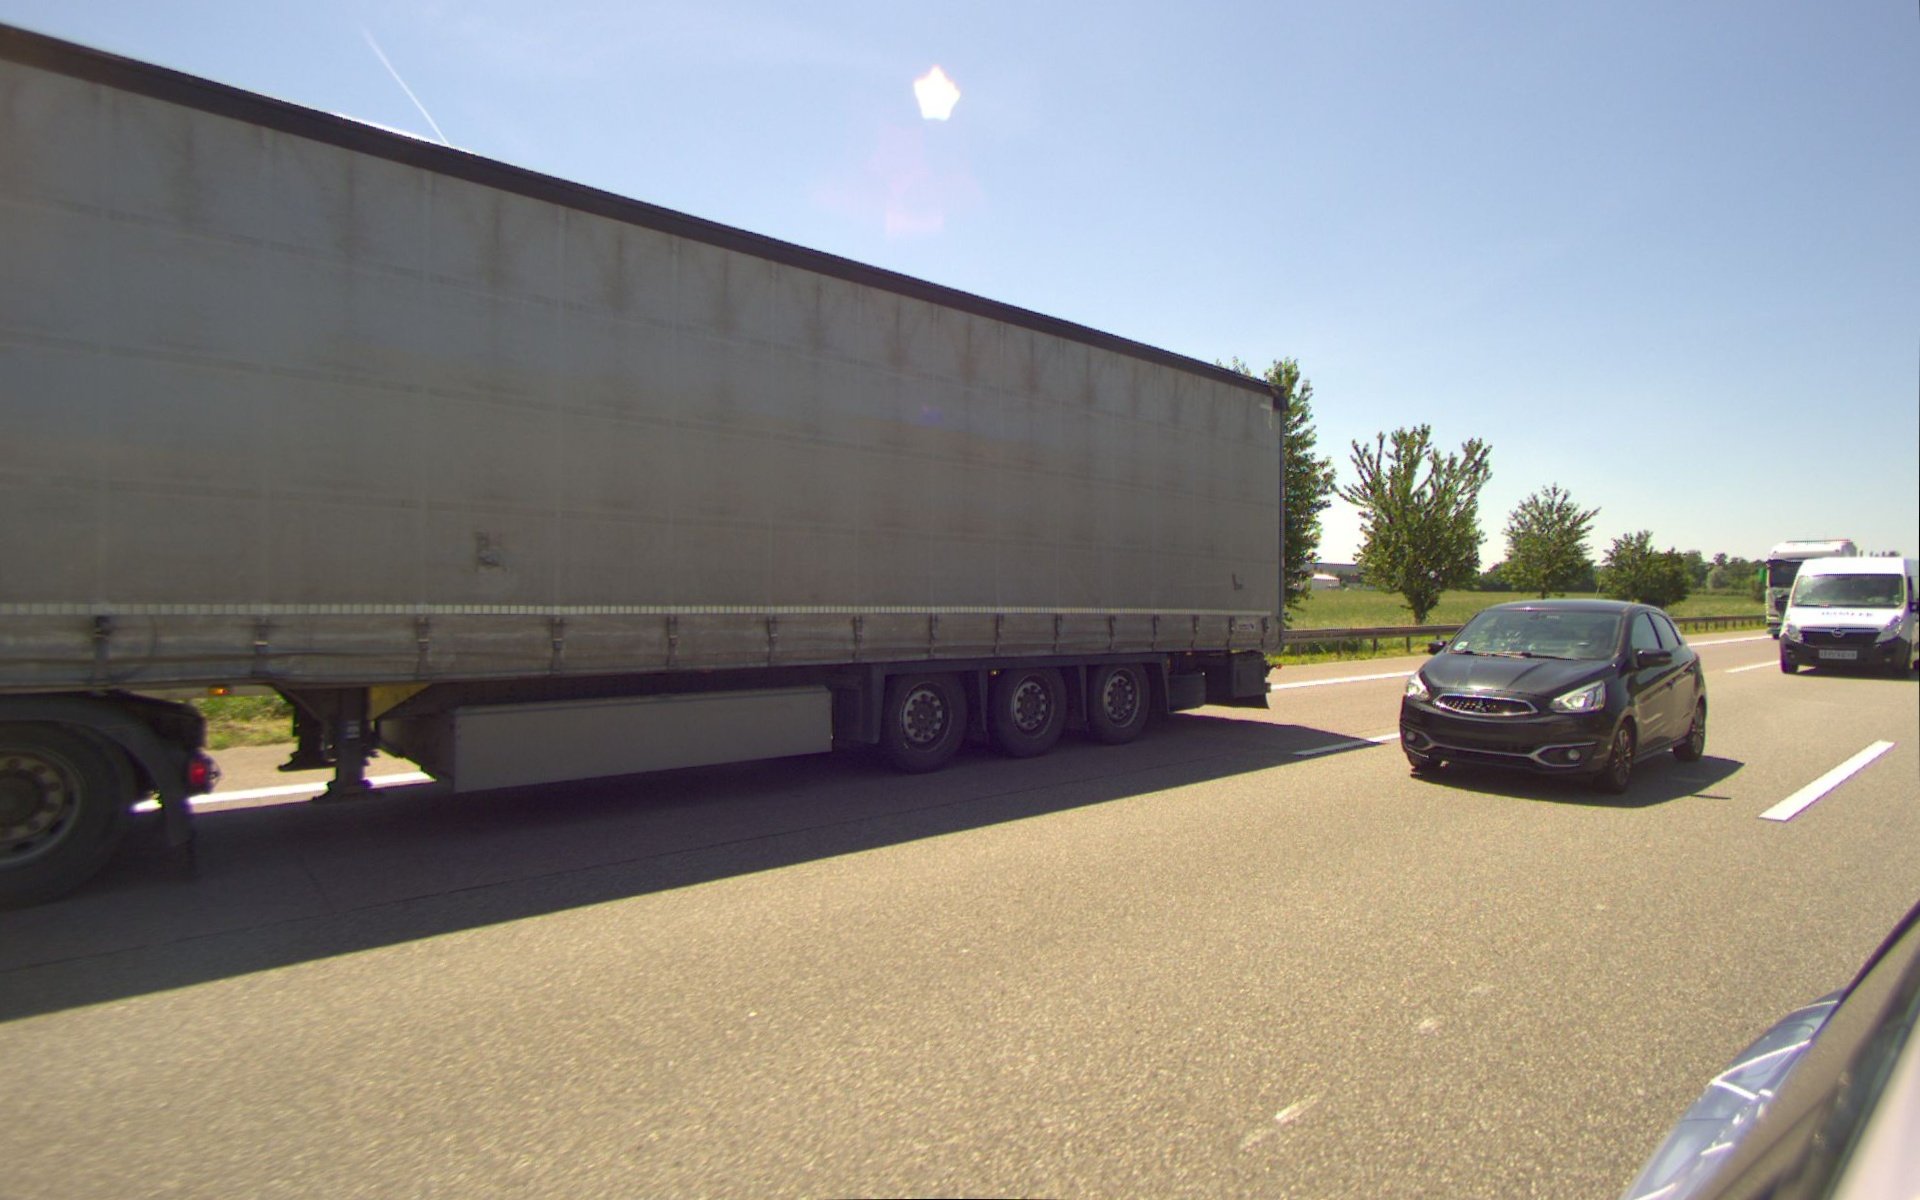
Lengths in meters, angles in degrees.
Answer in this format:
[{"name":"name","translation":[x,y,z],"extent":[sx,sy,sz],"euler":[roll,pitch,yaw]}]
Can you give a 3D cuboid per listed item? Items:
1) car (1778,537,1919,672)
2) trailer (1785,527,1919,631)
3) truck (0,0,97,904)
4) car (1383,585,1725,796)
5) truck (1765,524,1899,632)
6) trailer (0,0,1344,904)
[{"name":"car","translation":[19.655,0.064,21.852],"extent":[5.843,2.540,2.156],"euler":[0,0,-42]},{"name":"trailer","translation":[39.916,-0.838,44.555],"extent":[13.707,4.016,2.699],"euler":[0,0,-39]},{"name":"truck","translation":[-7.722,-0.781,3.569],"extent":[7.066,4.359,2.815],"euler":[0,0,-40]},{"name":"car","translation":[5.332,0.631,8.940],"extent":[3.374,1.492,1.689],"euler":[0,0,-42]},{"name":"truck","translation":[35.294,-0.825,40.867],"extent":[7.563,4.016,2.699],"euler":[0,0,-38]},{"name":"trailer","translation":[-1.617,-0.839,8.744],"extent":[14.002,4.359,2.815],"euler":[0,0,-40]}]
